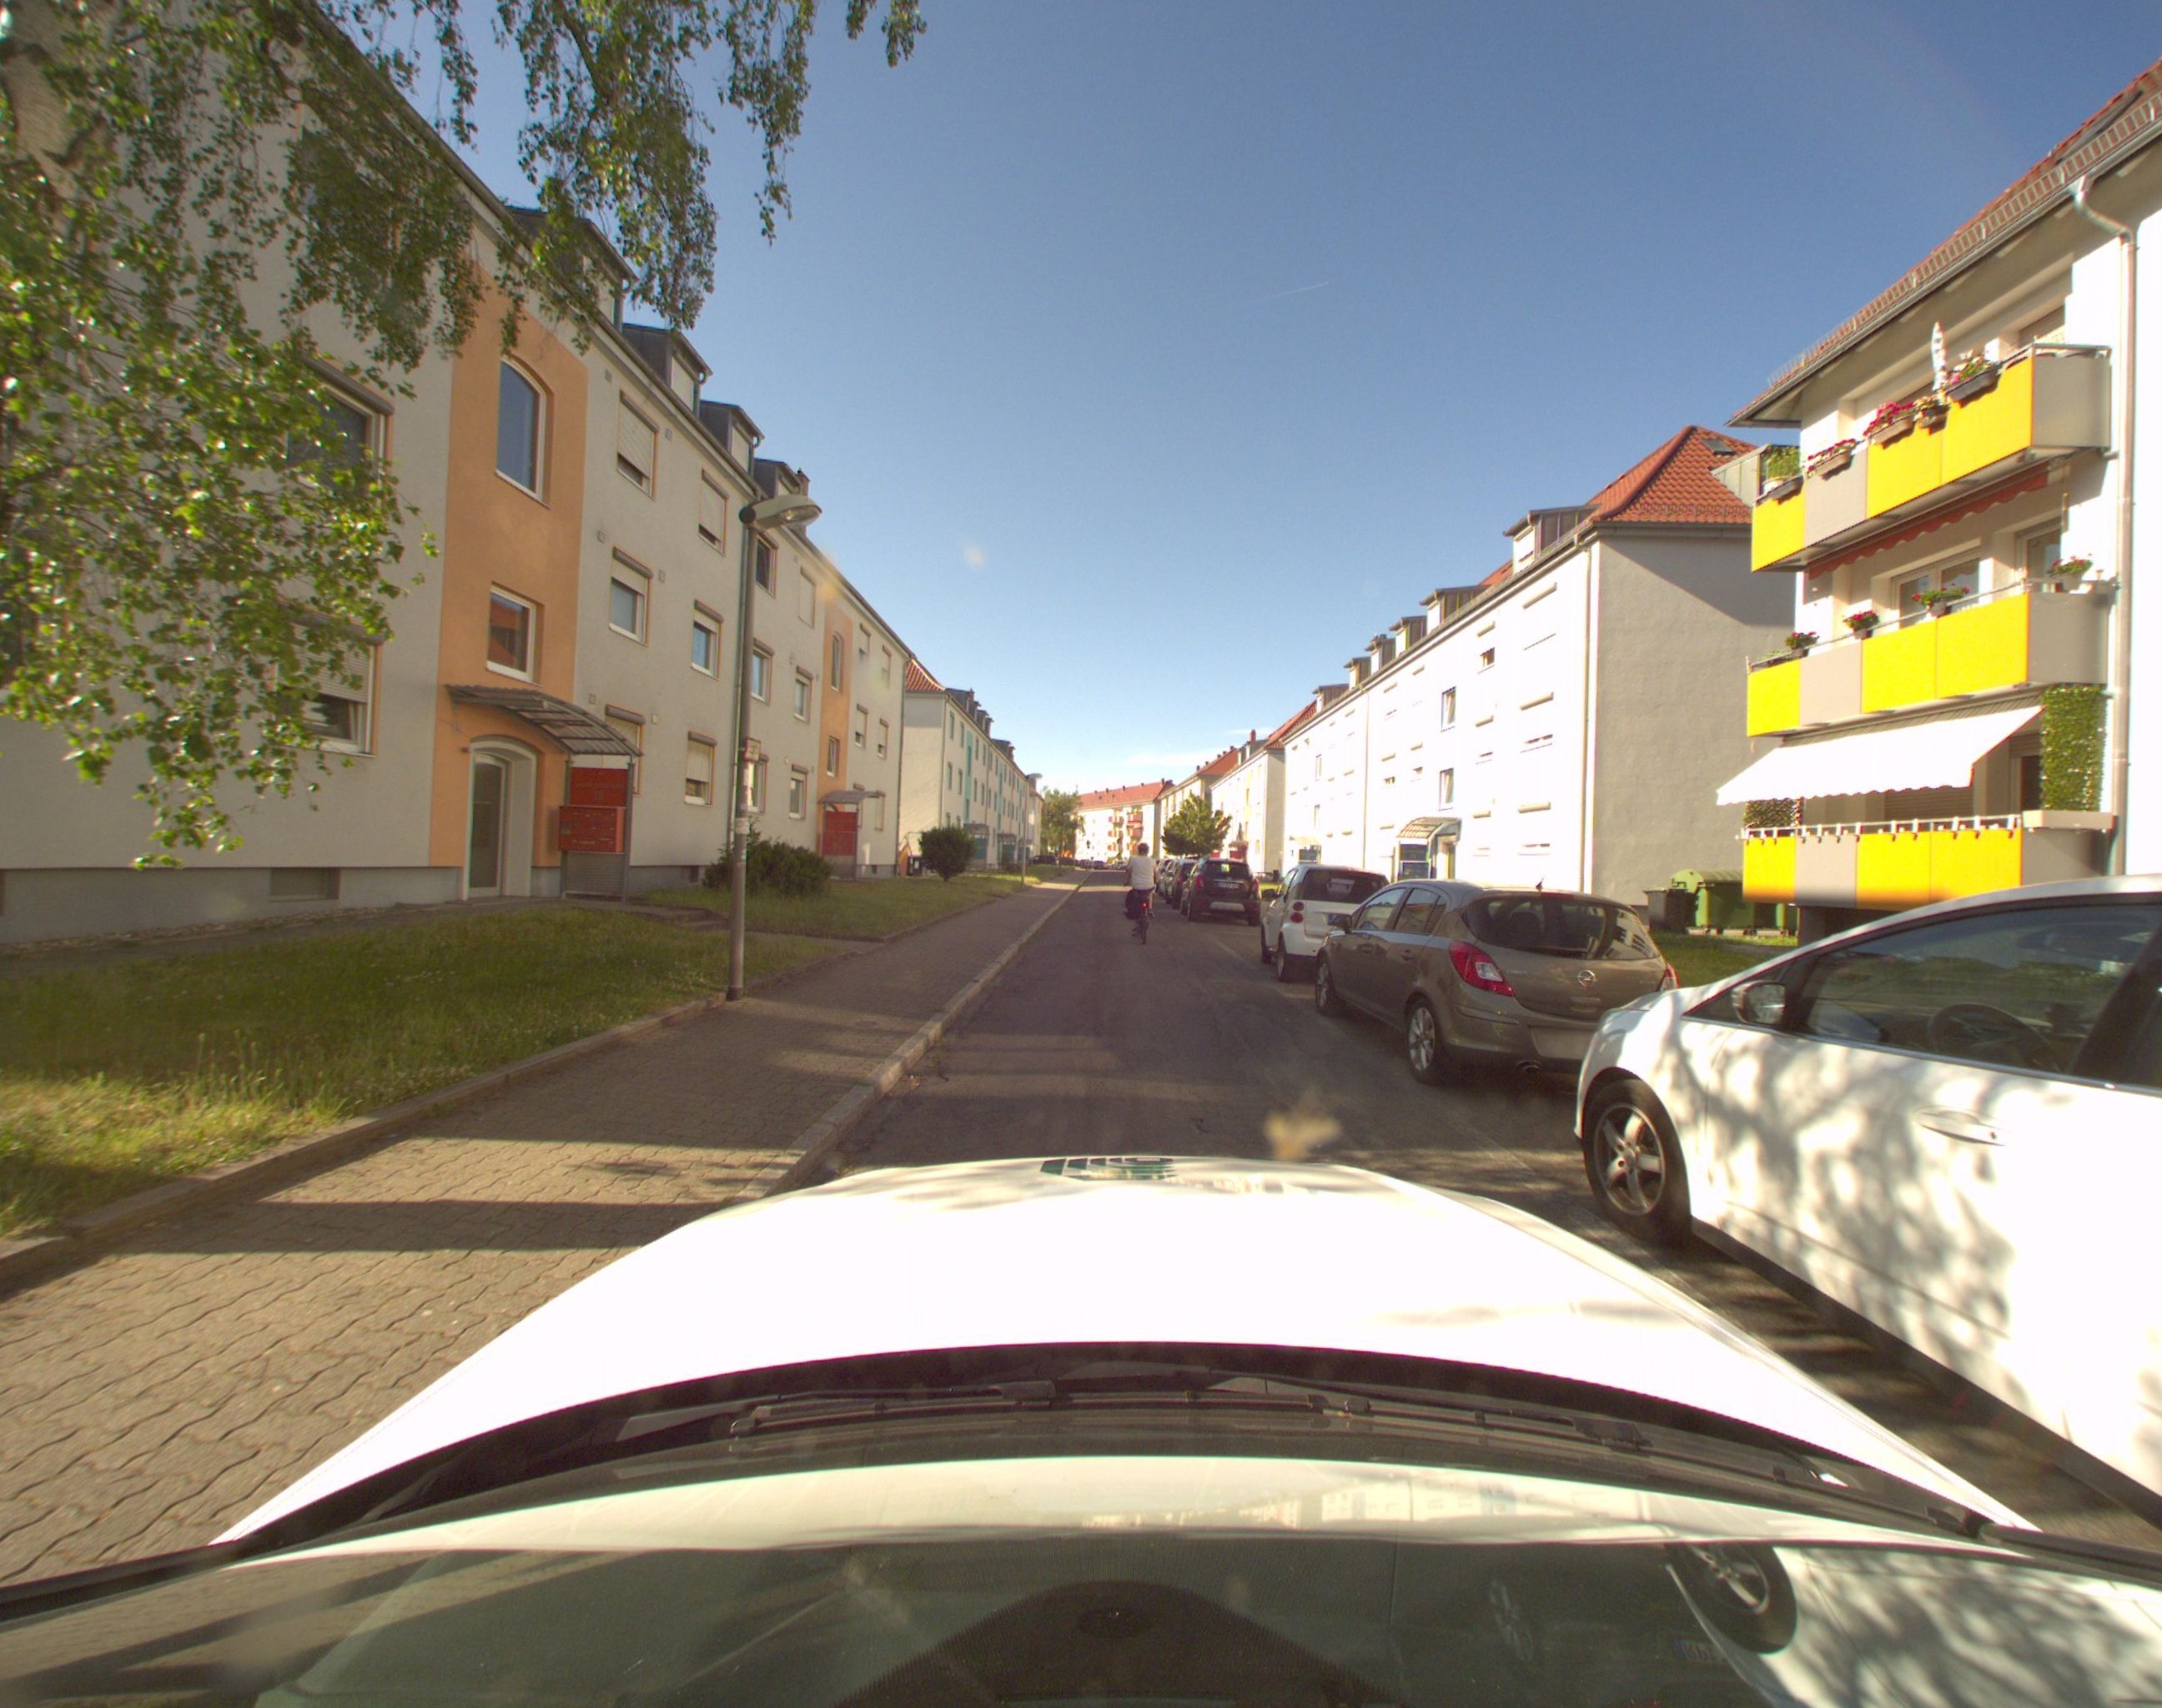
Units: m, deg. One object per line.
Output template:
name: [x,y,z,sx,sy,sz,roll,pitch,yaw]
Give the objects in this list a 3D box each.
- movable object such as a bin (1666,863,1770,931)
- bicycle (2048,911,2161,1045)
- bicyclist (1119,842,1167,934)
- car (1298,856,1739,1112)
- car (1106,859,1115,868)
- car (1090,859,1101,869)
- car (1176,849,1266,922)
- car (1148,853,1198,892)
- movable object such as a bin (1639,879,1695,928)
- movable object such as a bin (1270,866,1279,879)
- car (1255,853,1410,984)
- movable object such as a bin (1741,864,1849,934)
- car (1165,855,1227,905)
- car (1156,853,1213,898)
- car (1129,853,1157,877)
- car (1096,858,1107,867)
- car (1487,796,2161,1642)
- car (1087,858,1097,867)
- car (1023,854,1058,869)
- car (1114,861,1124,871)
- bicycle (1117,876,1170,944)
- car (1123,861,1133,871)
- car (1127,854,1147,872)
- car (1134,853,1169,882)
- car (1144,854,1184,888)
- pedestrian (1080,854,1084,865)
movable object such as a bin: [13.516,0.903,17.320,1.323,1.407,1.107,0,-2,2]
bicycle: [9.451,1.088,7.163,0.401,1.087,1.300,0,0,2]
bicyclist: [1.136,0.615,15.156,0.806,1.643,0.899,1,0,-1]
car: [3.272,0.817,7.097,1.688,1.491,3.985,4,0,1]
car: [5.286,1.782,147.684,1.465,1.516,3.076,3,0,0]
car: [2.204,1.479,122.981,1.465,1.335,3.138,-2,0,-2]
car: [3.610,0.751,21.752,1.776,1.648,4.472,3,0,3]
car: [4.289,0.825,38.503,1.745,1.617,4.451,4,0,0]
movable object such as a bin: [12.524,1.051,17.419,0.640,1.035,0.757,0,-2,2]
movable object such as a bin: [14.055,1.340,59.252,0.521,0.886,0.633,2,0,2]
car: [3.426,0.801,11.572,1.472,1.529,2.945,4,0,6]
movable object such as a bin: [15.055,0.941,17.214,1.338,1.412,1.056,0,-2,2]
car: [3.703,0.794,26.850,1.635,1.498,4.159,1,0,3]
car: [4.056,0.799,32.453,1.684,1.575,4.435,3,0,1]
car: [4.664,0.805,61.963,1.695,1.671,4.379,3,0,0]
car: [2.969,1.223,118.612,1.466,1.335,3.138,-1,0,-3]
car: [3.119,0.749,1.978,1.985,1.613,5.000,3,0,4]
car: [1.713,1.333,129.668,1.465,1.335,3.138,-2,0,-2]
car: [-4.954,0.918,100.004,4.221,1.638,1.581,2,0,-3]
car: [6.277,2.032,134.830,1.377,1.497,3.076,3,0,0]
bicycle: [1.127,0.999,15.168,0.806,1.128,2.101,1,0,-1]
car: [7.370,1.874,128.056,1.465,1.335,3.140,3,0,0]
car: [5.846,0.904,85.476,1.669,1.738,3.942,3,0,0]
car: [4.392,0.813,51.379,1.855,1.668,4.128,4,0,2]
car: [4.398,0.888,43.592,1.706,1.595,4.399,4,0,2]
pedestrian: [0.158,0.801,114.710,0.432,1.574,0.543,0,0,1]
